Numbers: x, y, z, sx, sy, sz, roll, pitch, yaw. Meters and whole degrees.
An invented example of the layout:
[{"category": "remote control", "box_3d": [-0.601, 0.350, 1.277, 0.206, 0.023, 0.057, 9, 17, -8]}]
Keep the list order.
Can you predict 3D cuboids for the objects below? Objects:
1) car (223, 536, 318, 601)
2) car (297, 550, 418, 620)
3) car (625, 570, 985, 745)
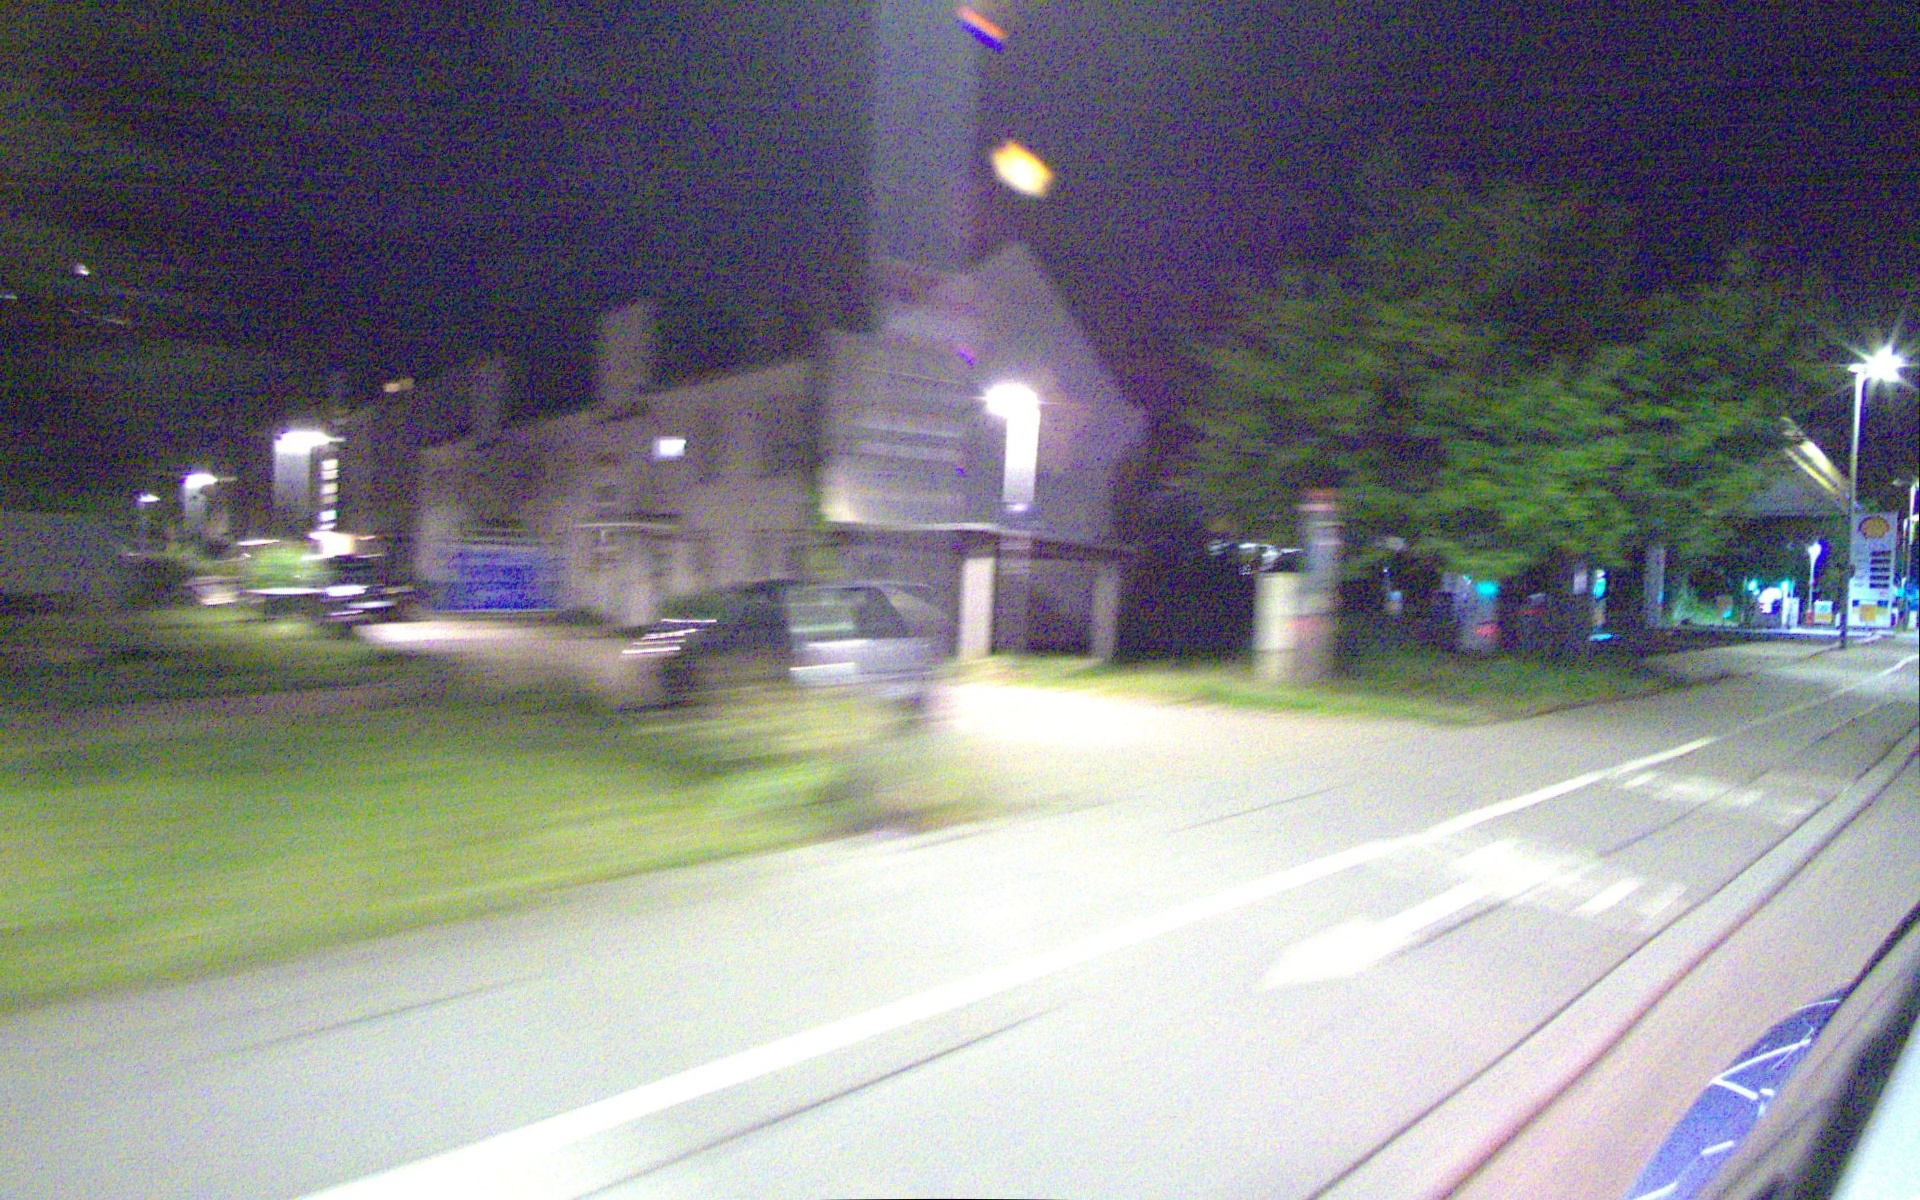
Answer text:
[{"category": "car", "box_3d": [-21.871, -0.991, 32.046, 1.965, 1.905, 3.994, 1, 1, -42]}, {"category": "car", "box_3d": [-15.284, -0.417, 25.575, 1.965, 1.593, 3.996, 1, 2, -40]}, {"category": "car", "box_3d": [-1.685, 0.410, 10.008, 1.826, 1.371, 3.772, 0, 1, -40]}]
